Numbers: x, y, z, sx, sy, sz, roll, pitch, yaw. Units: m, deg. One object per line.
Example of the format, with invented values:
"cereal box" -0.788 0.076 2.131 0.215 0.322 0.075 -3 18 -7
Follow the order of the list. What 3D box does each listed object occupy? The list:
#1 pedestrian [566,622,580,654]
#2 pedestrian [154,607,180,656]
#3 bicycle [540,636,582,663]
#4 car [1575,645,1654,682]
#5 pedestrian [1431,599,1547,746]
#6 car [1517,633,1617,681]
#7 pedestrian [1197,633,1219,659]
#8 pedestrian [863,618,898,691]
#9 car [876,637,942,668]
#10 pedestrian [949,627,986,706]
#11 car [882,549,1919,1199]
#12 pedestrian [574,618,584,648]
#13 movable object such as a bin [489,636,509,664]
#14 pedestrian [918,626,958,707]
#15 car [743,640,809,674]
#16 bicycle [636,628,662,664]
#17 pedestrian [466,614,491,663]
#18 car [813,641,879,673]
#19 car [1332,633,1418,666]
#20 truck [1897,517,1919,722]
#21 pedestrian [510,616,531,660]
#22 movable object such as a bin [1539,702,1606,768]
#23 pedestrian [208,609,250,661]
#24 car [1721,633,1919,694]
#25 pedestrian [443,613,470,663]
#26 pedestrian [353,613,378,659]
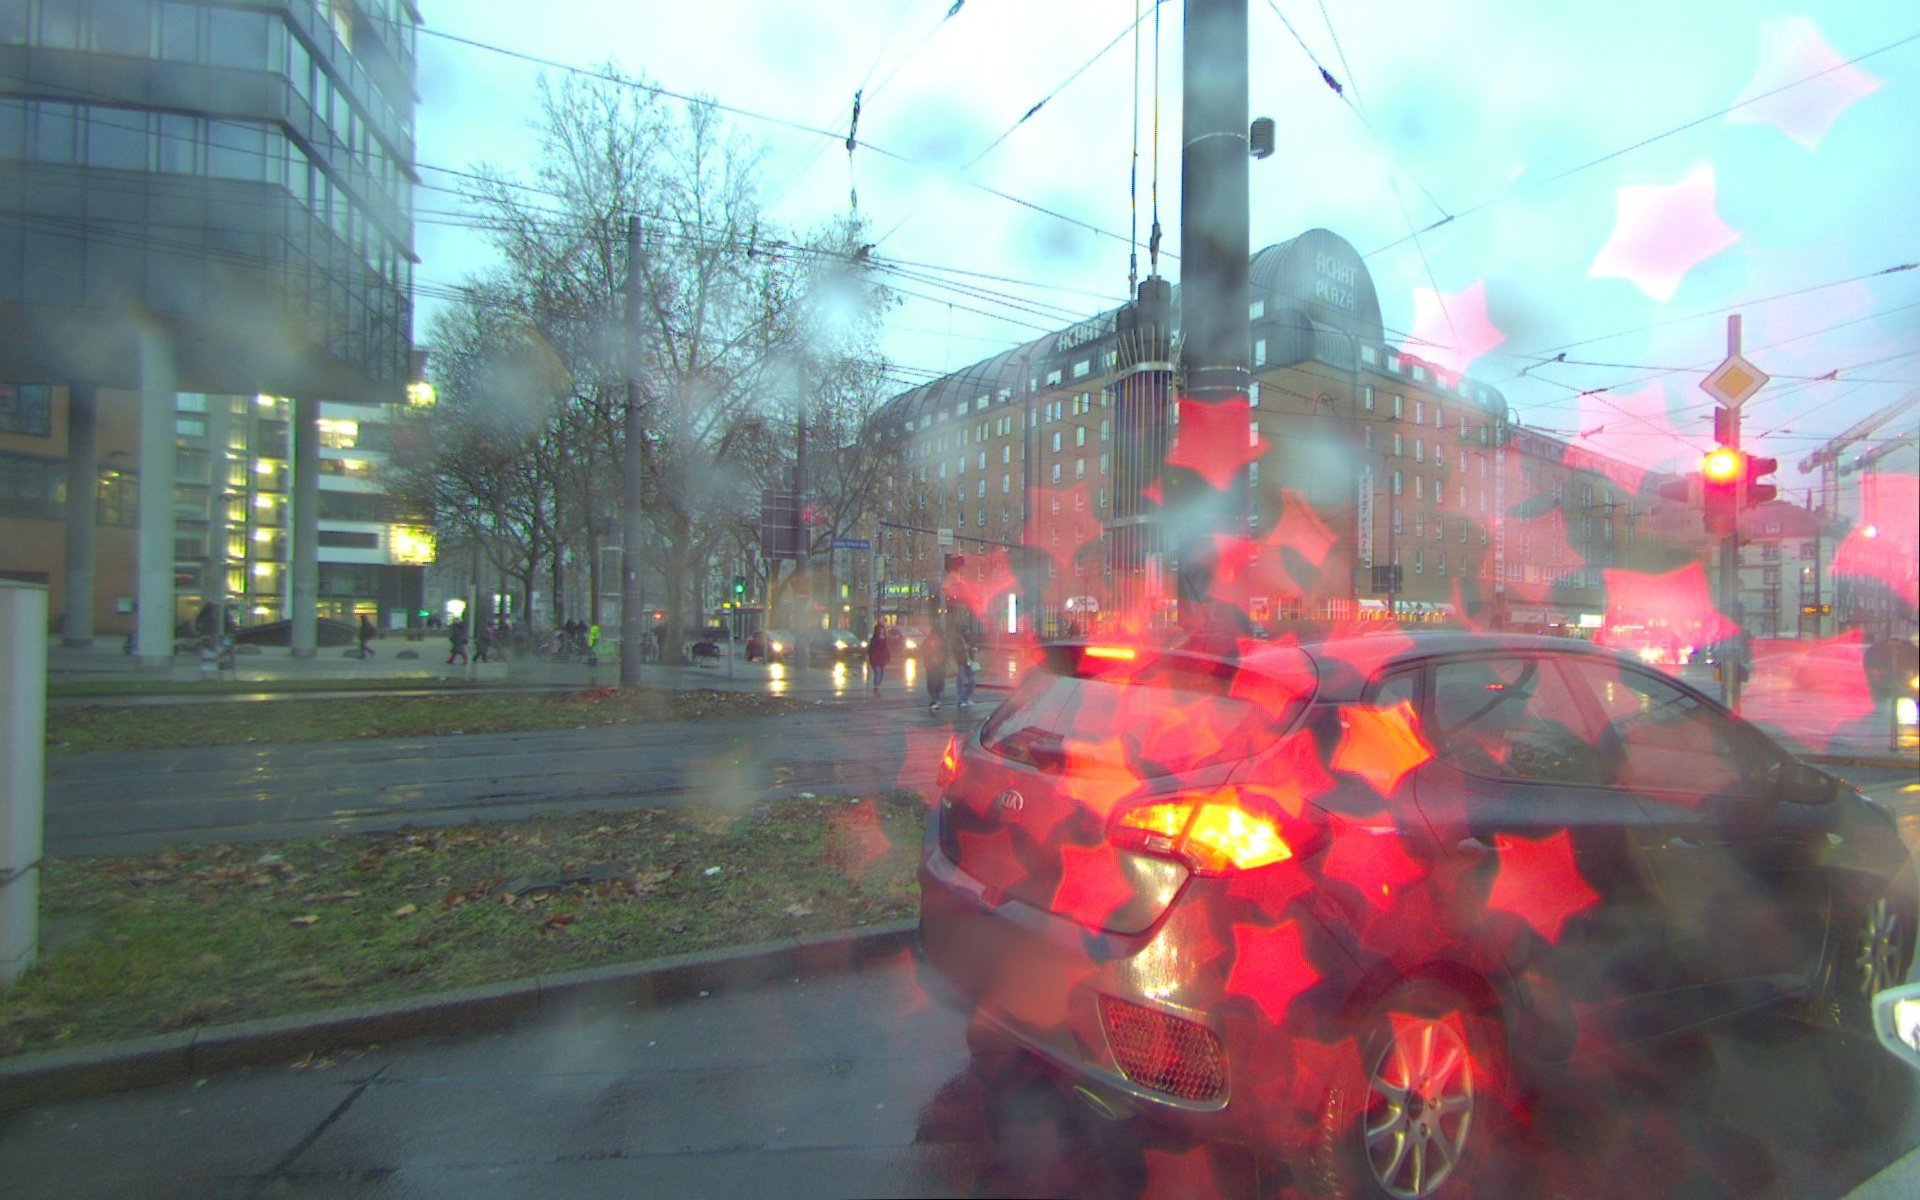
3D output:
"pedestrian" -19.283 1.909 50.051 0.637 1.577 0.765 1 -1 -22
"pedestrian" -26.961 1.065 34.162 0.670 1.629 0.449 1 -2 -38
"bicycle" -16.358 2.032 41.171 1.564 1.088 0.451 1 -2 -20
"car" 30.570 2.920 47.051 1.960 1.572 4.080 0 -2 15
"pedestrian" 6.149 0.837 11.686 1.023 1.621 0.711 2 -3 -26
"car" 20.001 1.831 33.269 1.676 1.467 4.003 0 -2 13
"pedestrian" 16.679 3.066 67.527 1.149 1.700 0.894 -1 -2 42
"pedestrian" -1.679 1.155 21.286 0.724 1.519 0.676 1 -1 -4
"car" -2.707 2.718 52.579 1.975 1.483 3.970 1 -2 -28
"pedestrian" 0.147 1.304 19.926 0.604 1.532 0.519 1 -1 -18
"car" 1.820 0.687 3.666 3.894 1.544 1.622 0 -1 -30
"pedestrian" -25.707 2.219 67.807 0.568 2.040 0.583 1 -2 -16
"movable object such as a bin" -17.571 1.884 38.271 0.637 1.048 0.572 1 -1 -23
"pedestrian" -0.428 1.280 19.476 0.635 1.532 0.560 1 -1 -18
"car" -8.748 2.665 47.549 1.975 1.483 3.970 1 -2 -28
"bicycle" -12.262 1.794 39.542 0.624 1.336 2.296 1 -2 -25
"pedestrian" -18.225 1.455 38.004 0.778 1.828 0.868 1 -1 -22
"car" -5.813 2.819 50.632 1.975 1.483 3.970 1 -2 -28
"car" 19.122 2.261 46.435 1.677 1.478 3.742 1 -2 -18
"truck" 17.269 0.291 15.514 2.800 3.681 7.507 0 -2 33
"pedestrian" -18.726 1.626 42.747 0.719 1.840 0.773 1 -1 -30
"movable object such as a bin" 6.910 1.512 11.335 0.530 0.708 0.410 2 -3 -24
"pedestrian" -24.775 1.177 34.063 0.772 1.734 1.008 1 -2 -15
"car" 25.672 1.815 30.067 2.208 1.628 5.006 0 -2 4
"pedestrian" -18.345 1.397 36.590 0.811 1.797 0.568 1 -2 -29
"pedestrian" -22.533 1.371 38.054 0.776 1.734 0.650 1 -2 -32
